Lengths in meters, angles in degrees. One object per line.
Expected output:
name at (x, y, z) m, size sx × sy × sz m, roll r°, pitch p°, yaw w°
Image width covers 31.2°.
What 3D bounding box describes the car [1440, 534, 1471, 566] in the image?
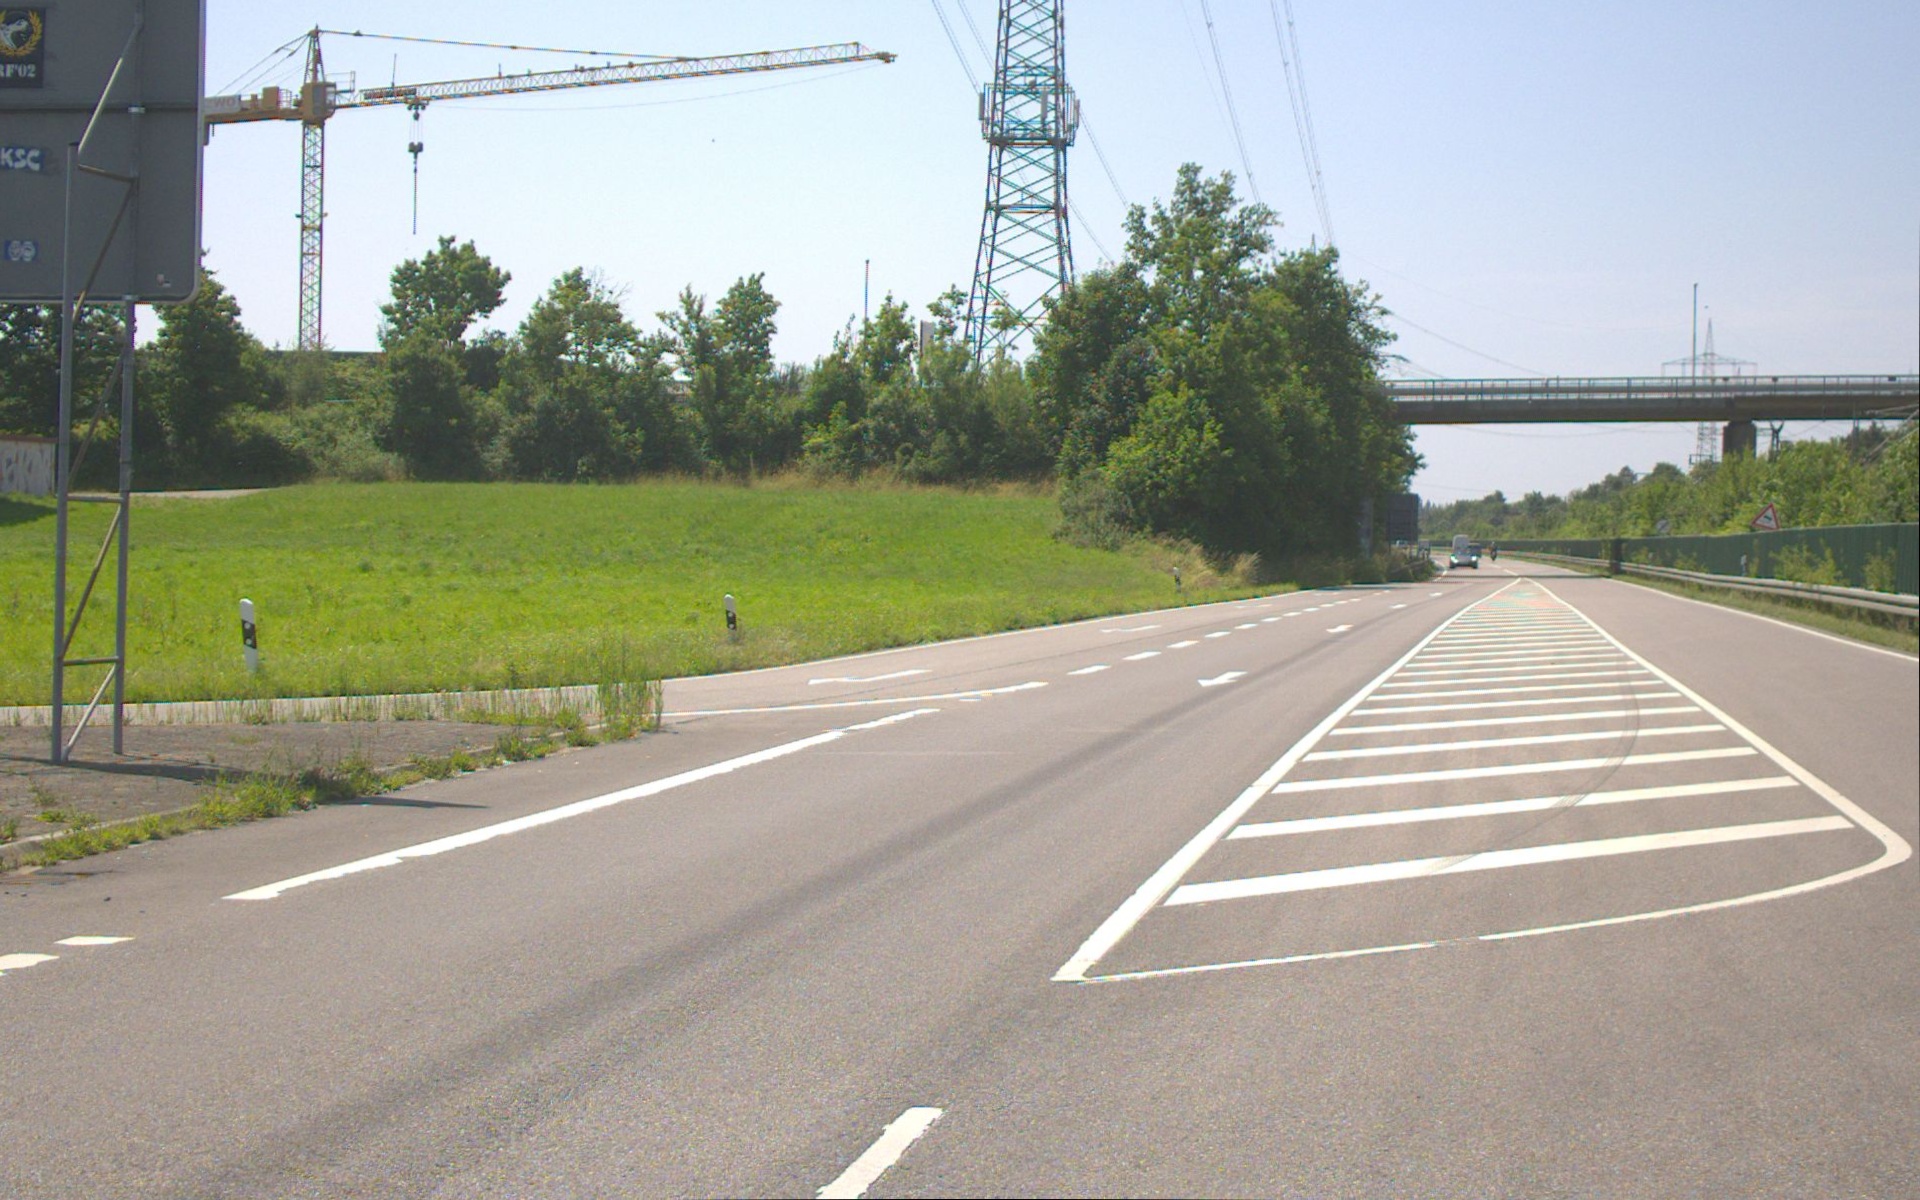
car at (32.936, -3.330, 228.523) m, size 1.994 × 2.007 × 3.999 m, roll 2°, pitch 1°, yaw 8°
